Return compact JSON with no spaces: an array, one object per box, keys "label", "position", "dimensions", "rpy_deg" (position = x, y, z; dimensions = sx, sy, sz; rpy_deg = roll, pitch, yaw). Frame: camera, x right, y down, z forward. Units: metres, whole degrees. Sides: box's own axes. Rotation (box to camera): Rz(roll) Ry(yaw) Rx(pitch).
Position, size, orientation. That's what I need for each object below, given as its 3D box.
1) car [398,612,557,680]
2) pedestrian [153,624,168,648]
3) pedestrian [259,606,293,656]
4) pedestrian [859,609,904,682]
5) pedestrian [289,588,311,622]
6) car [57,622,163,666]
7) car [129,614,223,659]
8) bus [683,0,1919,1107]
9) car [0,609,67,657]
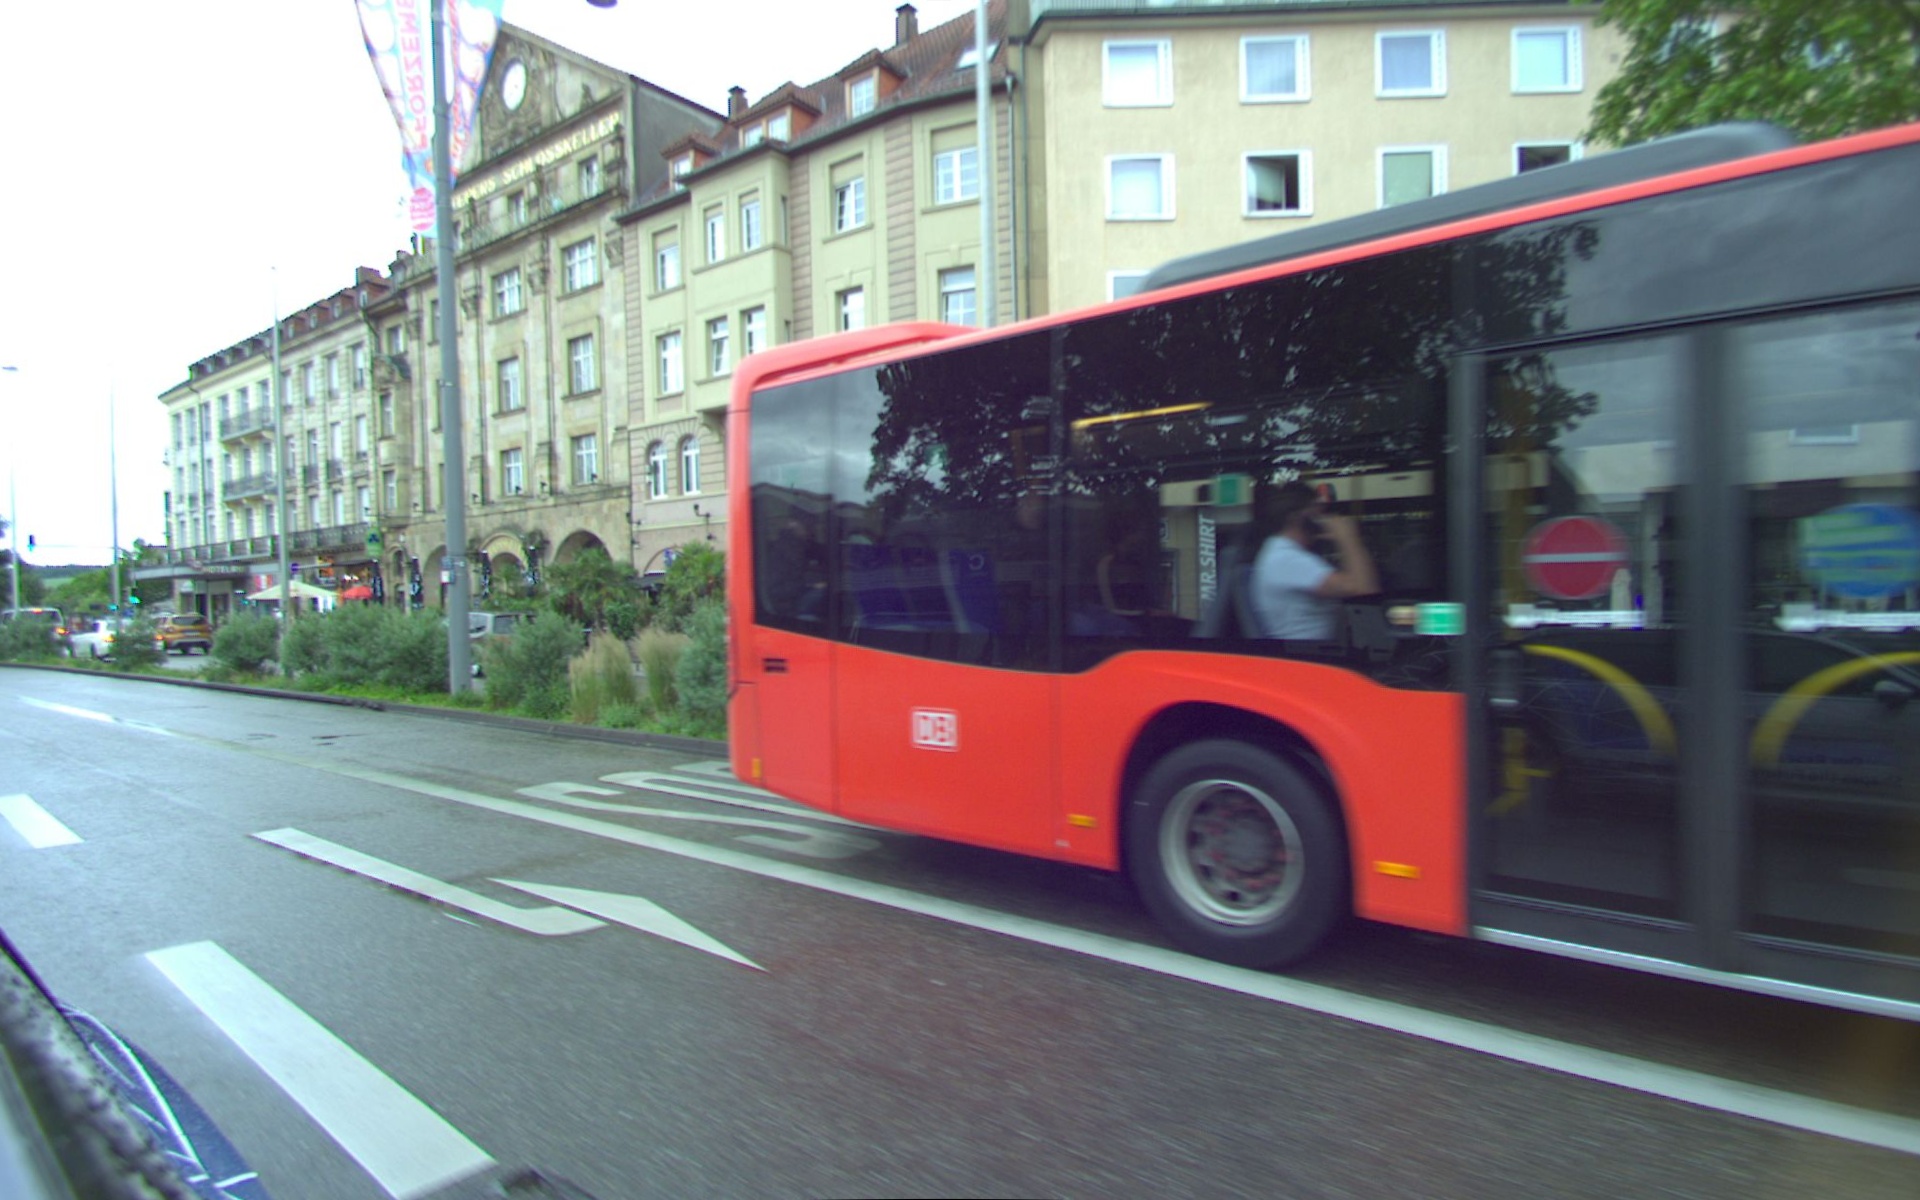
[{"label":"car","position":[-12.546,1.131,26.184],"dimensions":[4.732,1.591,1.774],"rpy_deg":[-1,-1,37]},{"label":"pedestrian","position":[-51.088,2.301,64.648],"dimensions":[0.633,1.499,0.748],"rpy_deg":[-2,0,-33]},{"label":"pedestrian","position":[-28.125,1.284,41.641],"dimensions":[0.764,1.924,0.670],"rpy_deg":[-5,-14,38]},{"label":"pedestrian","position":[-1.684,0.967,21.725],"dimensions":[0.724,1.541,0.685],"rpy_deg":[-1,-2,28]},{"label":"pedestrian","position":[-33.292,0.235,51.048],"dimensions":[0.677,1.683,0.757],"rpy_deg":[0,0,33]},{"label":"car","position":[-29.616,1.480,35.211],"dimensions":[4.977,1.417,1.774],"rpy_deg":[-1,-1,37]},{"label":"car","position":[-31.494,1.421,40.609],"dimensions":[4.094,1.693,1.975],"rpy_deg":[-1,-1,37]},{"label":"bus","position":[2.965,-0.282,4.151],"dimensions":[9.905,3.270,2.781],"rpy_deg":[-1,-1,40]},{"label":"car","position":[-41.110,1.432,44.430],"dimensions":[4.846,1.989,1.904],"rpy_deg":[-1,-1,36]}]
